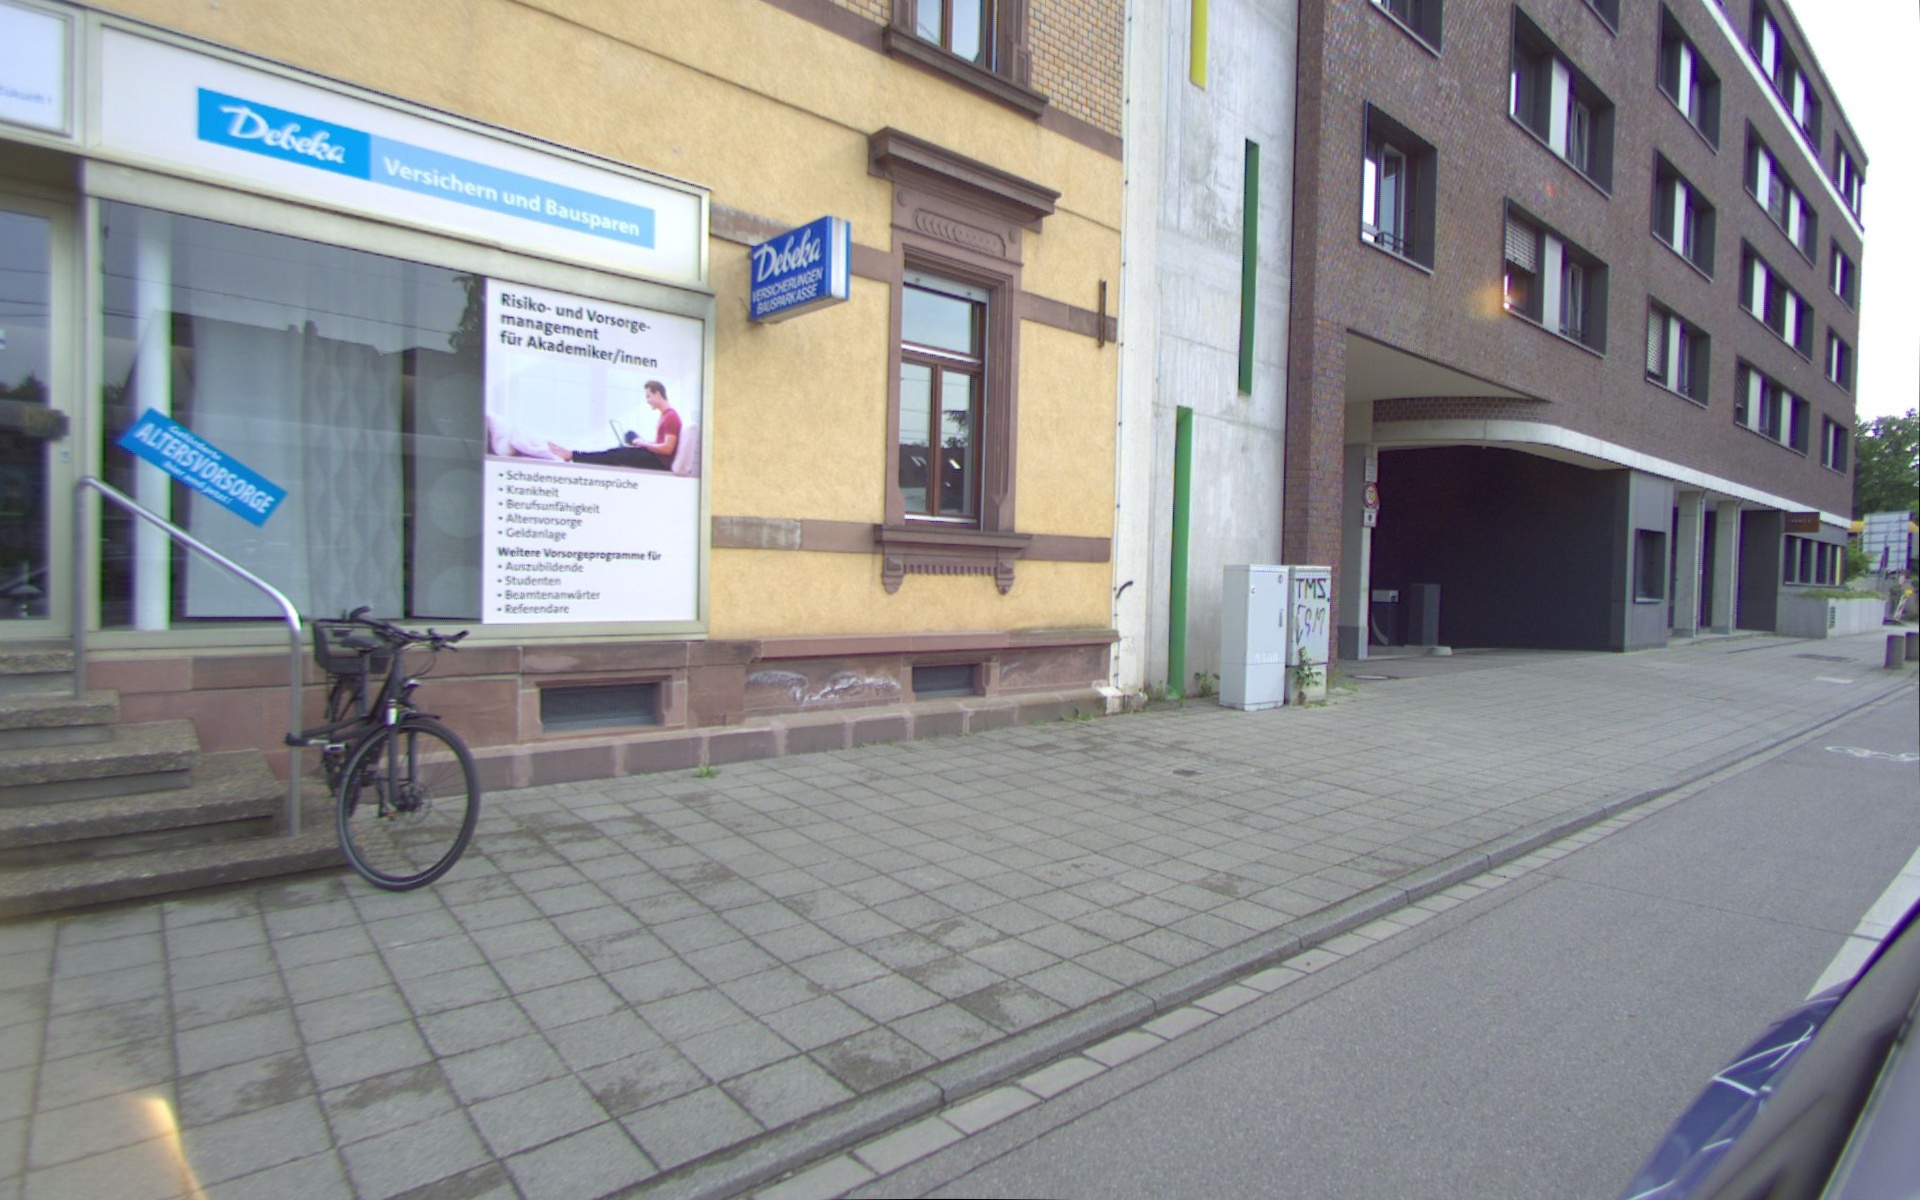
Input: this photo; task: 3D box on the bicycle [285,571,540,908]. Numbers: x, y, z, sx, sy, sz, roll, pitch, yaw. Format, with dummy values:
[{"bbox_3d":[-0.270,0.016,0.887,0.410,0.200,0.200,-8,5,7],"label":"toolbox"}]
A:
[{"bbox_3d":[-2.554,0.497,4.606,0.631,1.143,1.782,0,4,-41],"label":"bicycle"}]
